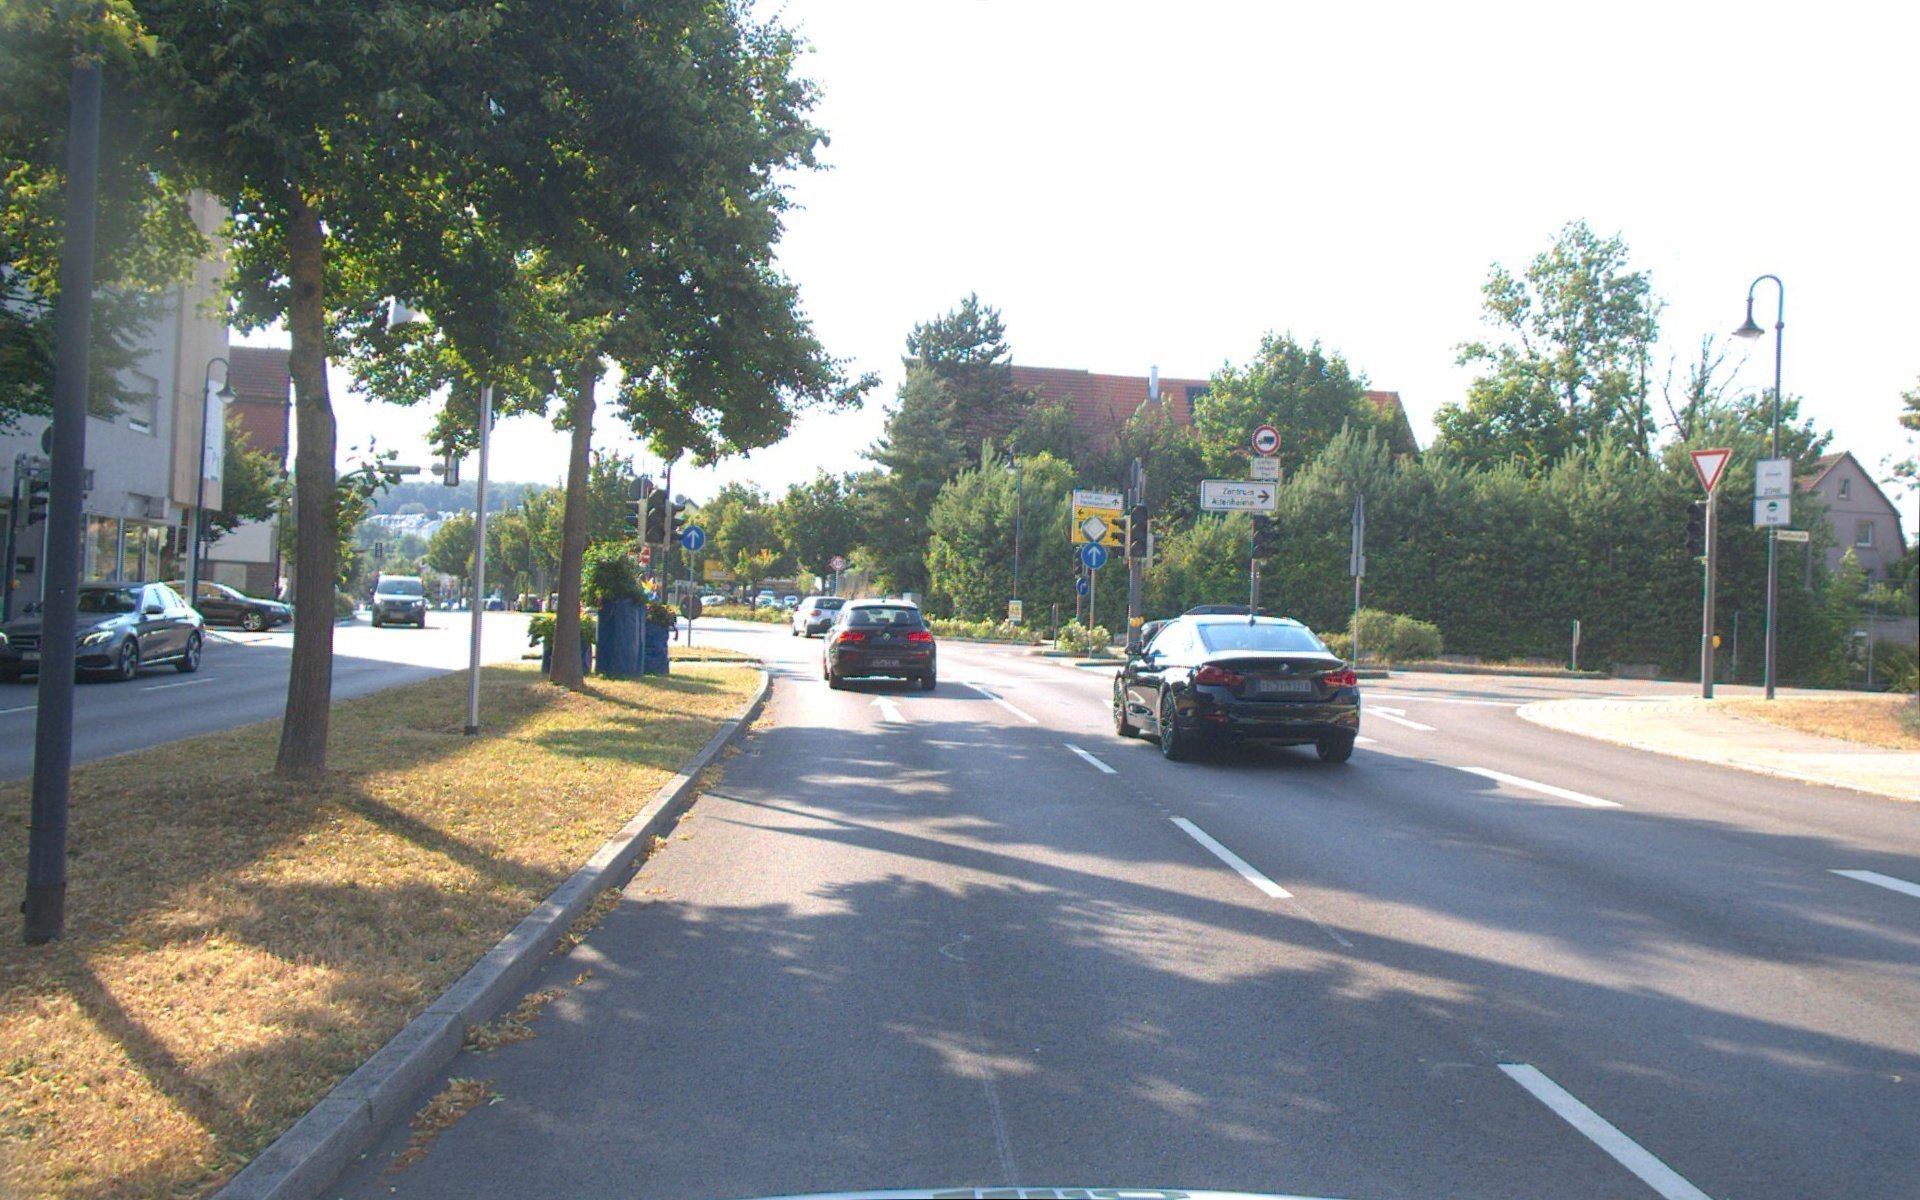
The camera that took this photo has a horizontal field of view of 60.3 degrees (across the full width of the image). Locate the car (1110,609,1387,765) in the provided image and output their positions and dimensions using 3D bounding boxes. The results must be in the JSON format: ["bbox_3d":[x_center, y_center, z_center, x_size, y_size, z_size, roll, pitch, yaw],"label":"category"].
[{"bbox_3d":[2.806,0.805,17.079,1.882,1.388,4.350,1,-1,-3],"label":"car"}]

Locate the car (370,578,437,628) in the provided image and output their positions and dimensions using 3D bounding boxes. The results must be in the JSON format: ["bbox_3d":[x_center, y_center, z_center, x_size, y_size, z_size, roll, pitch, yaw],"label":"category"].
[{"bbox_3d":[-20.323,0.113,60.560,1.820,1.767,4.906,1,0,-13],"label":"car"}]

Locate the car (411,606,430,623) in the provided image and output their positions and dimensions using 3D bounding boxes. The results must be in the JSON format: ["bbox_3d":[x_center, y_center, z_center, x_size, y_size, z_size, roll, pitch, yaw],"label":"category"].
[{"bbox_3d":[-56.204,1.534,172.335,1.704,1.708,3.976,1,0,-20],"label":"car"}]

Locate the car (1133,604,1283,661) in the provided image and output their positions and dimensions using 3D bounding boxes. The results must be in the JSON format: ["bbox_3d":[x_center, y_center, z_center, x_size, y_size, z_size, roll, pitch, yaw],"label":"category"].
[{"bbox_3d":[7.601,0.973,50.790,4.178,1.594,1.789,1,0,30],"label":"car"}]

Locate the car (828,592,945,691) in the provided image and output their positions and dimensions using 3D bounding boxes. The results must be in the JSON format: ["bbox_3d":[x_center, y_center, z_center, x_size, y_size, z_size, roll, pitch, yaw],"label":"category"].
[{"bbox_3d":[-1.178,0.663,28.288,1.685,1.516,4.353,2,0,1],"label":"car"}]

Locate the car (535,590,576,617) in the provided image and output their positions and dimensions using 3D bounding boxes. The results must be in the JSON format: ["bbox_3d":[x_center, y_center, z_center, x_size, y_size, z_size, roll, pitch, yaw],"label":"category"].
[{"bbox_3d":[-28.572,0.244,116.757,2.186,1.800,4.425,1,0,-22],"label":"car"}]

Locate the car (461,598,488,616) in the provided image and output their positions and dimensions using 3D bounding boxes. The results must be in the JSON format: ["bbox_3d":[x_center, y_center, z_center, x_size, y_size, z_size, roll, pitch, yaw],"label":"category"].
[{"bbox_3d":[-48.610,0.678,165.540,2.186,1.800,4.425,1,0,-22],"label":"car"}]

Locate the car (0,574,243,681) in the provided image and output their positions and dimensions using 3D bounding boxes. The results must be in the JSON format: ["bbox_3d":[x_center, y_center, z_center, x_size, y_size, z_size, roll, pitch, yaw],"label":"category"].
[{"bbox_3d":[-13.121,0.402,26.066,1.816,1.512,4.990,1,0,-5],"label":"car"}]

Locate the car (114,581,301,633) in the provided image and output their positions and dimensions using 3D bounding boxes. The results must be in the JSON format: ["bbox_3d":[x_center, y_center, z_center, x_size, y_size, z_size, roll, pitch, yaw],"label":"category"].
[{"bbox_3d":[-22.391,0.223,49.402,4.777,1.462,1.910,1,0,-15],"label":"car"}]

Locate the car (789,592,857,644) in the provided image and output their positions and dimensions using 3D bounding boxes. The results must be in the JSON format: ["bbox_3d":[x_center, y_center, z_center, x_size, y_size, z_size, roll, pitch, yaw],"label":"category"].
[{"bbox_3d":[-5.045,0.621,60.392,1.891,1.800,4.440,1,0,-12],"label":"car"}]
